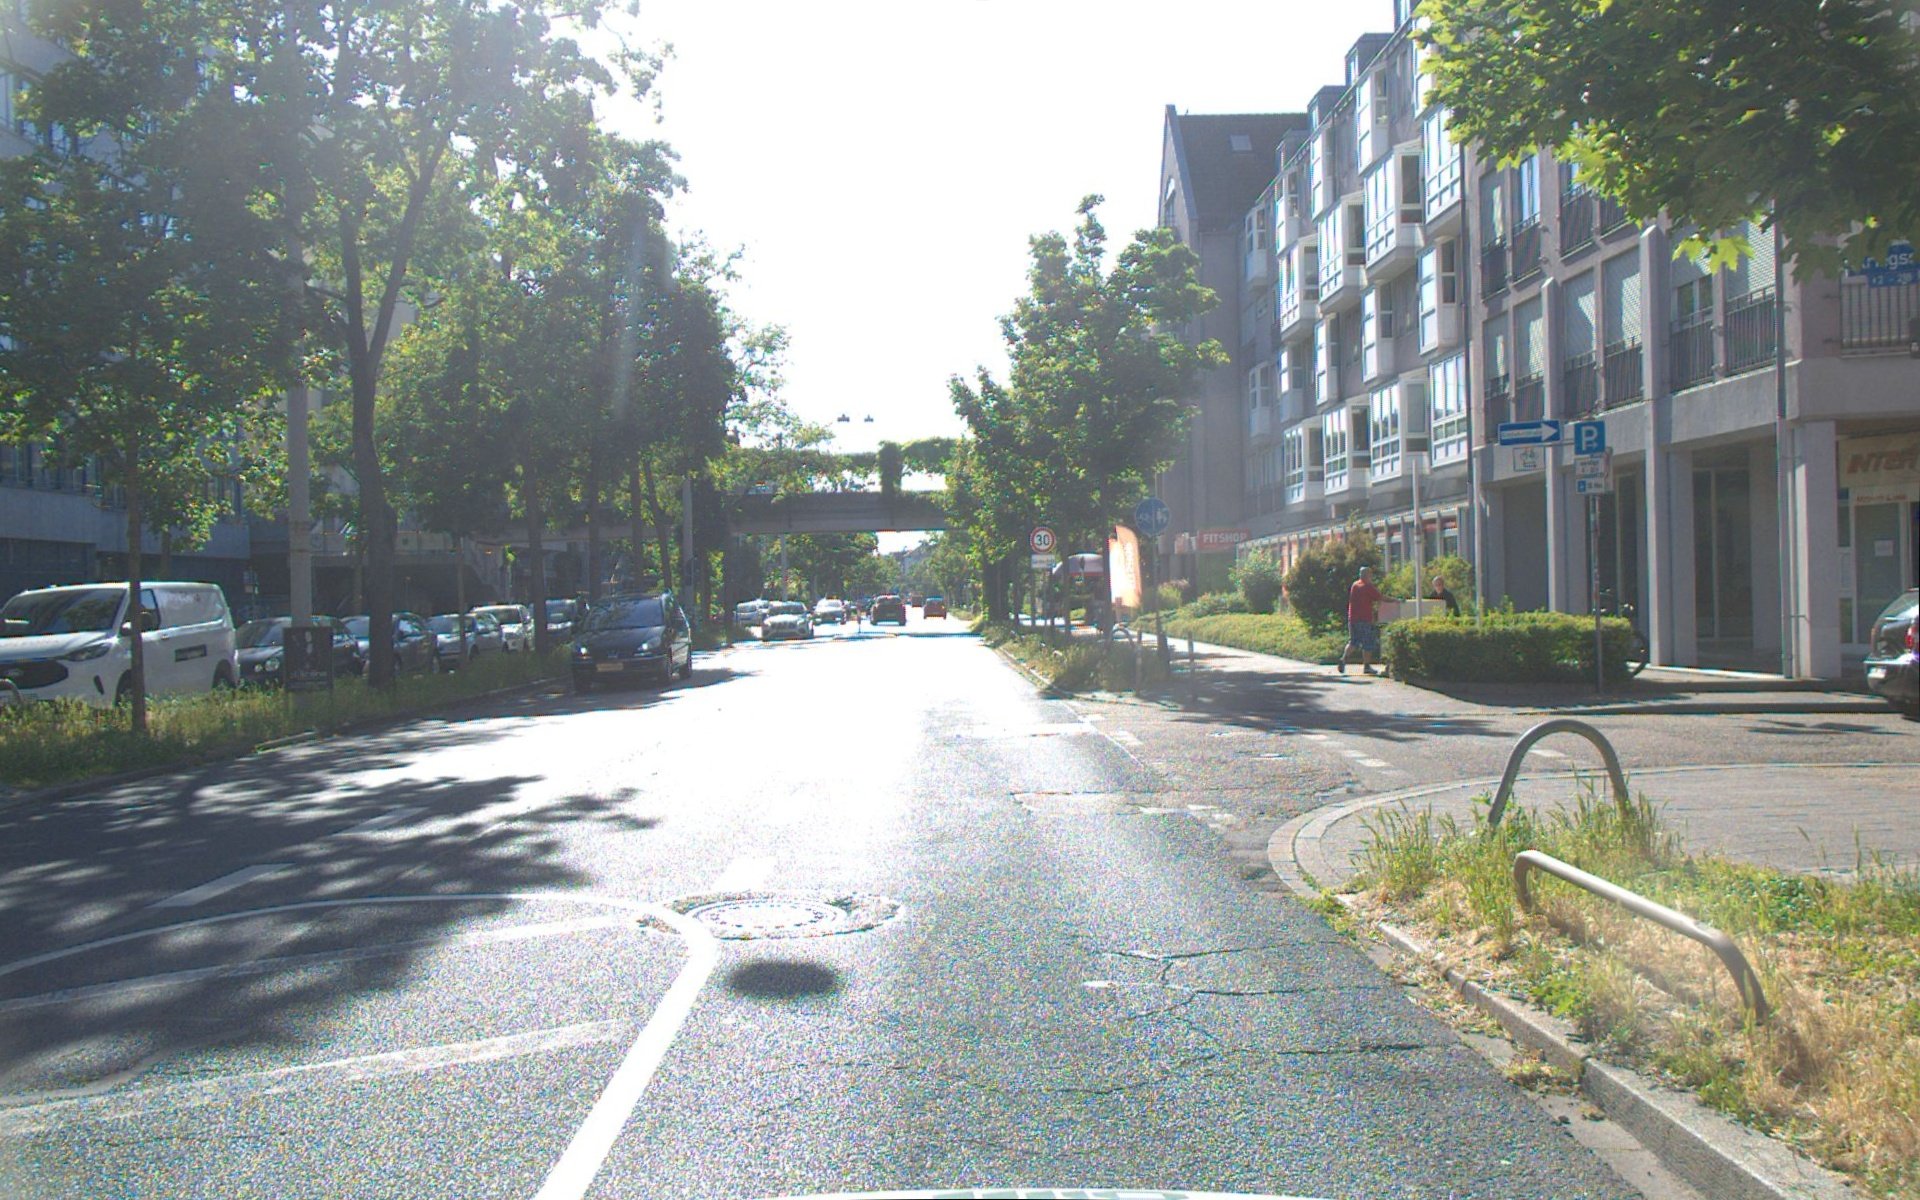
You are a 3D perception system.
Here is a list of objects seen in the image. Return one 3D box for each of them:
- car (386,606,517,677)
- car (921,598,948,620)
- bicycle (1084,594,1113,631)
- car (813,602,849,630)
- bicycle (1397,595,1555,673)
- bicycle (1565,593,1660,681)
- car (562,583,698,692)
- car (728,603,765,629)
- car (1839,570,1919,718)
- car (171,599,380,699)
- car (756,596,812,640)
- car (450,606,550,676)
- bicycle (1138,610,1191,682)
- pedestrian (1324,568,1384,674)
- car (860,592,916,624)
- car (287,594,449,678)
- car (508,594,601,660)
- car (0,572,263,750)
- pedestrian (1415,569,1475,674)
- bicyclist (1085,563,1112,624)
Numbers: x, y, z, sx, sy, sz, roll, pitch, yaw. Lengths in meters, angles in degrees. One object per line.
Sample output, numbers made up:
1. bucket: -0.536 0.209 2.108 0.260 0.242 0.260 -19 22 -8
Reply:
1. car: -11.886 0.936 38.912 1.818 1.549 4.063 -1 0 0
2. car: -1.827 0.655 120.260 1.817 1.549 4.318 -1 0 0
3. bicycle: 4.015 0.373 47.983 0.577 1.045 1.859 -1 -1 -2
4. car: -7.480 0.919 96.262 1.819 1.465 4.317 -3 0 -2
5. bicycle: 7.839 0.511 25.174 2.151 1.045 0.687 -3 2 0
6. bicycle: 9.062 0.485 23.055 0.670 1.045 2.205 -3 2 7
7. car: -6.324 0.669 32.176 1.819 1.856 4.607 -3 0 -2
8. car: -13.036 0.967 101.125 1.818 1.549 4.075 -1 0 -2
9. car: 11.909 0.442 17.886 3.860 1.549 1.863 -1 0 12
10. car: -11.593 0.777 28.359 1.745 1.549 4.319 -1 0 0
11. car: -7.023 0.700 66.491 1.818 1.595 4.713 -3 0 -2
12. car: -12.158 1.031 43.949 1.820 1.713 4.658 -1 0 -7
13. bicycle: 3.368 0.738 27.160 0.578 1.084 2.024 -1 0 15
14. pedestrian: 6.276 0.332 26.352 0.641 1.631 0.602 -4 -1 -7
15. car: -3.875 0.433 87.920 1.954 1.628 4.119 -1 0 -18
16. car: -11.850 0.675 33.412 1.818 1.549 4.317 -1 0 -2
17. car: -12.160 0.760 49.874 1.818 1.882 4.560 -1 0 -2
18. car: -11.692 0.767 23.029 1.942 2.112 5.192 -3 0 -4
19. pedestrian: 7.832 0.341 26.727 0.641 1.631 0.602 -4 -1 -7
20. bicyclist: 4.014 -0.181 48.053 0.654 1.725 0.888 -1 -1 -3
